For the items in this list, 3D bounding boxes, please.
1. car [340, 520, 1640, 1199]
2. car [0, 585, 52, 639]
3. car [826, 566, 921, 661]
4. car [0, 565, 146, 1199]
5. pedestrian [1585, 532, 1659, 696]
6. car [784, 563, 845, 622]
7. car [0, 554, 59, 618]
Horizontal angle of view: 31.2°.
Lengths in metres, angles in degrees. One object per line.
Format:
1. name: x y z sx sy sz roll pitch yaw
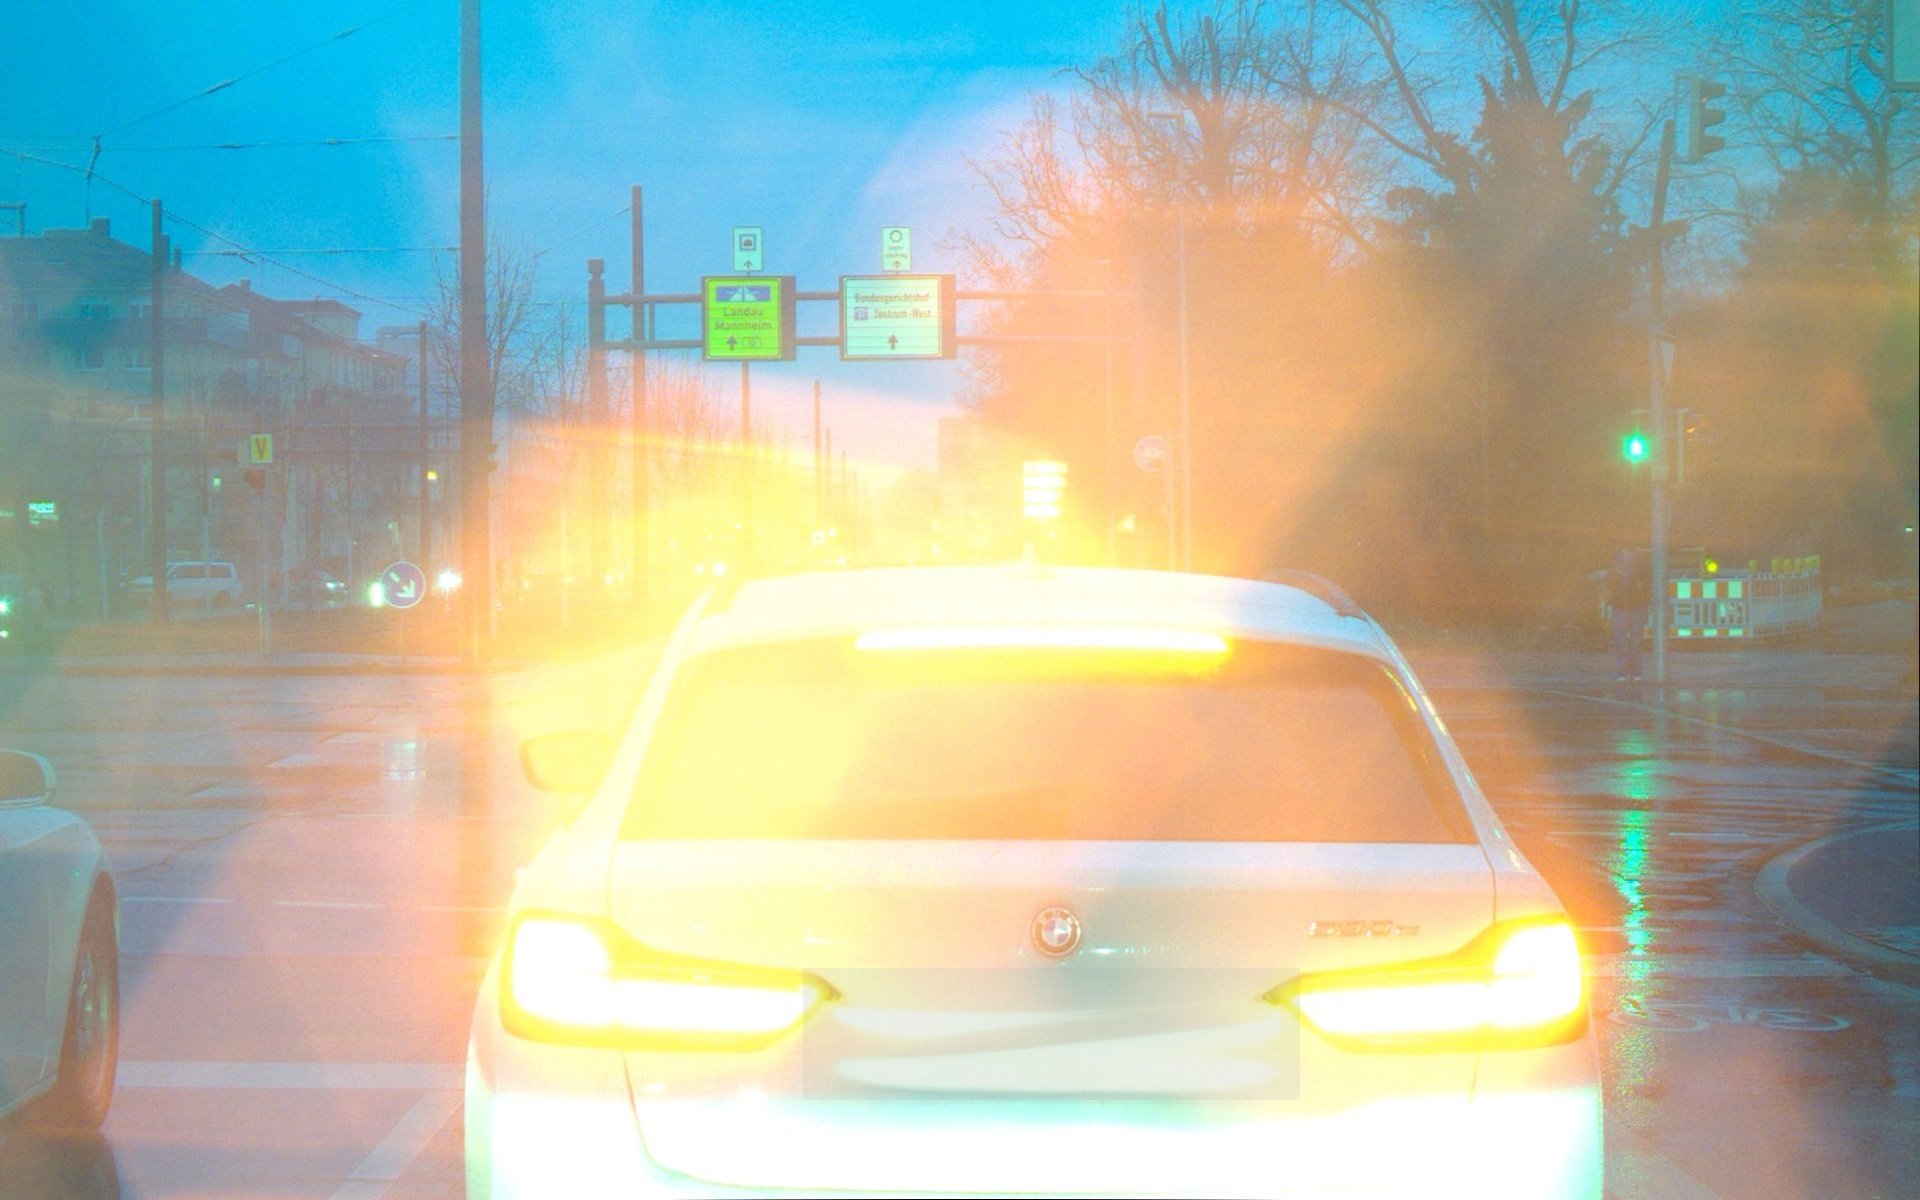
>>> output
1. car: -0.056 0.655 6.805 1.759 1.547 4.252 1 1 -3
2. car: -27.817 0.332 99.342 1.993 1.457 5.095 1 1 -2
3. car: -1.876 0.271 75.370 1.993 2.007 4.000 1 1 -1
4. car: -2.952 0.655 6.976 1.759 1.464 4.252 1 1 -3
5. pedestrian: 7.673 0.157 39.864 0.673 1.873 0.715 1 0 -3
6. car: -5.089 -0.287 120.976 1.993 2.007 4.000 1 1 -1
7. car: -22.716 -0.357 81.015 1.993 1.457 5.096 1 1 -4
